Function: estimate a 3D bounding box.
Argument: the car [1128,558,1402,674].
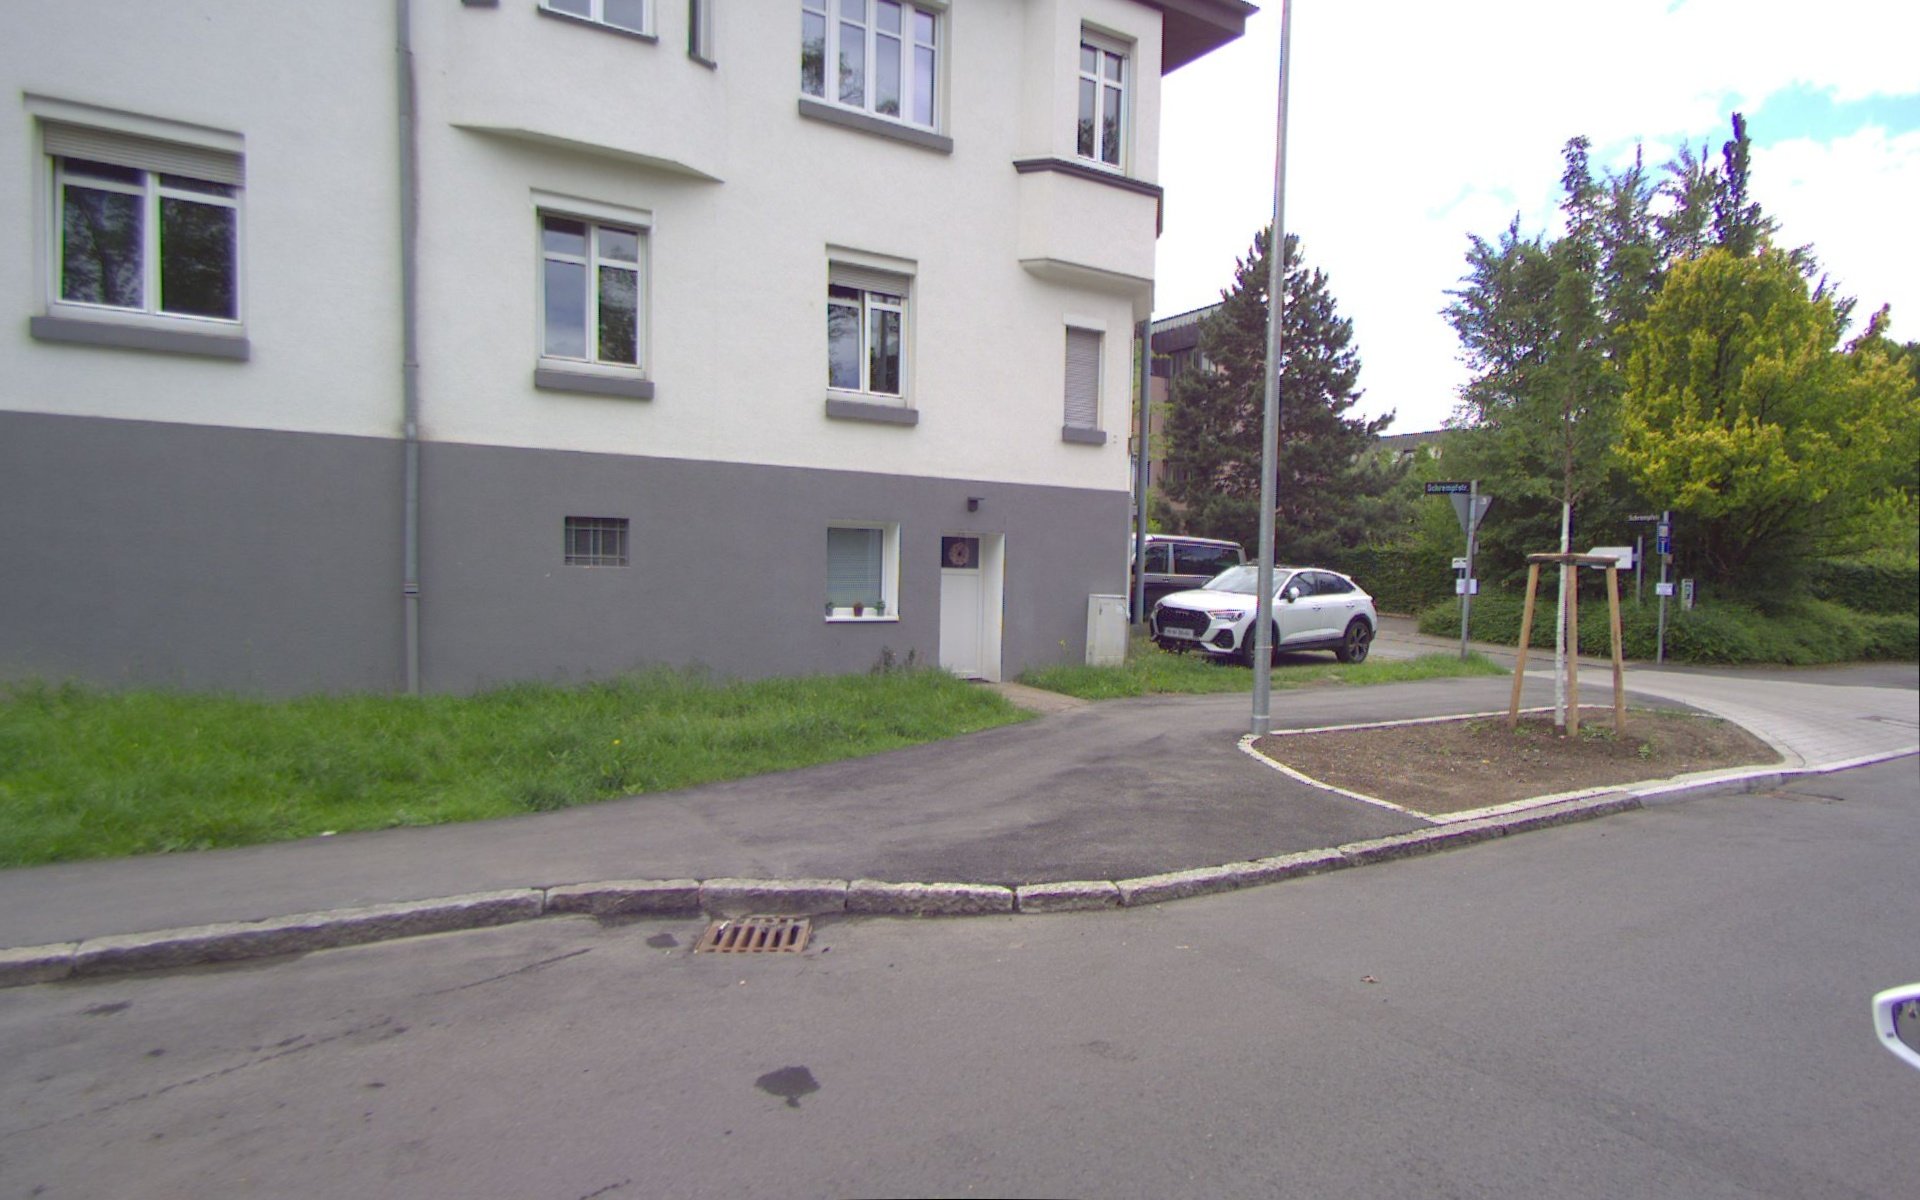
[{"bbox_3d":[5.097,0.265,16.523,4.554,1.553,1.891,2,4,-37],"label":"car"}]

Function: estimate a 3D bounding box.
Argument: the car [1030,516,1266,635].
[{"bbox_3d":[3.901,-0.450,20.450,4.720,2.078,1.891,2,4,-37],"label":"car"}]

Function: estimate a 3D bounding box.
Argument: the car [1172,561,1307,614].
[{"bbox_3d":[9.295,-0.470,33.290,4.369,1.554,1.980,-2,5,-35],"label":"car"}]
